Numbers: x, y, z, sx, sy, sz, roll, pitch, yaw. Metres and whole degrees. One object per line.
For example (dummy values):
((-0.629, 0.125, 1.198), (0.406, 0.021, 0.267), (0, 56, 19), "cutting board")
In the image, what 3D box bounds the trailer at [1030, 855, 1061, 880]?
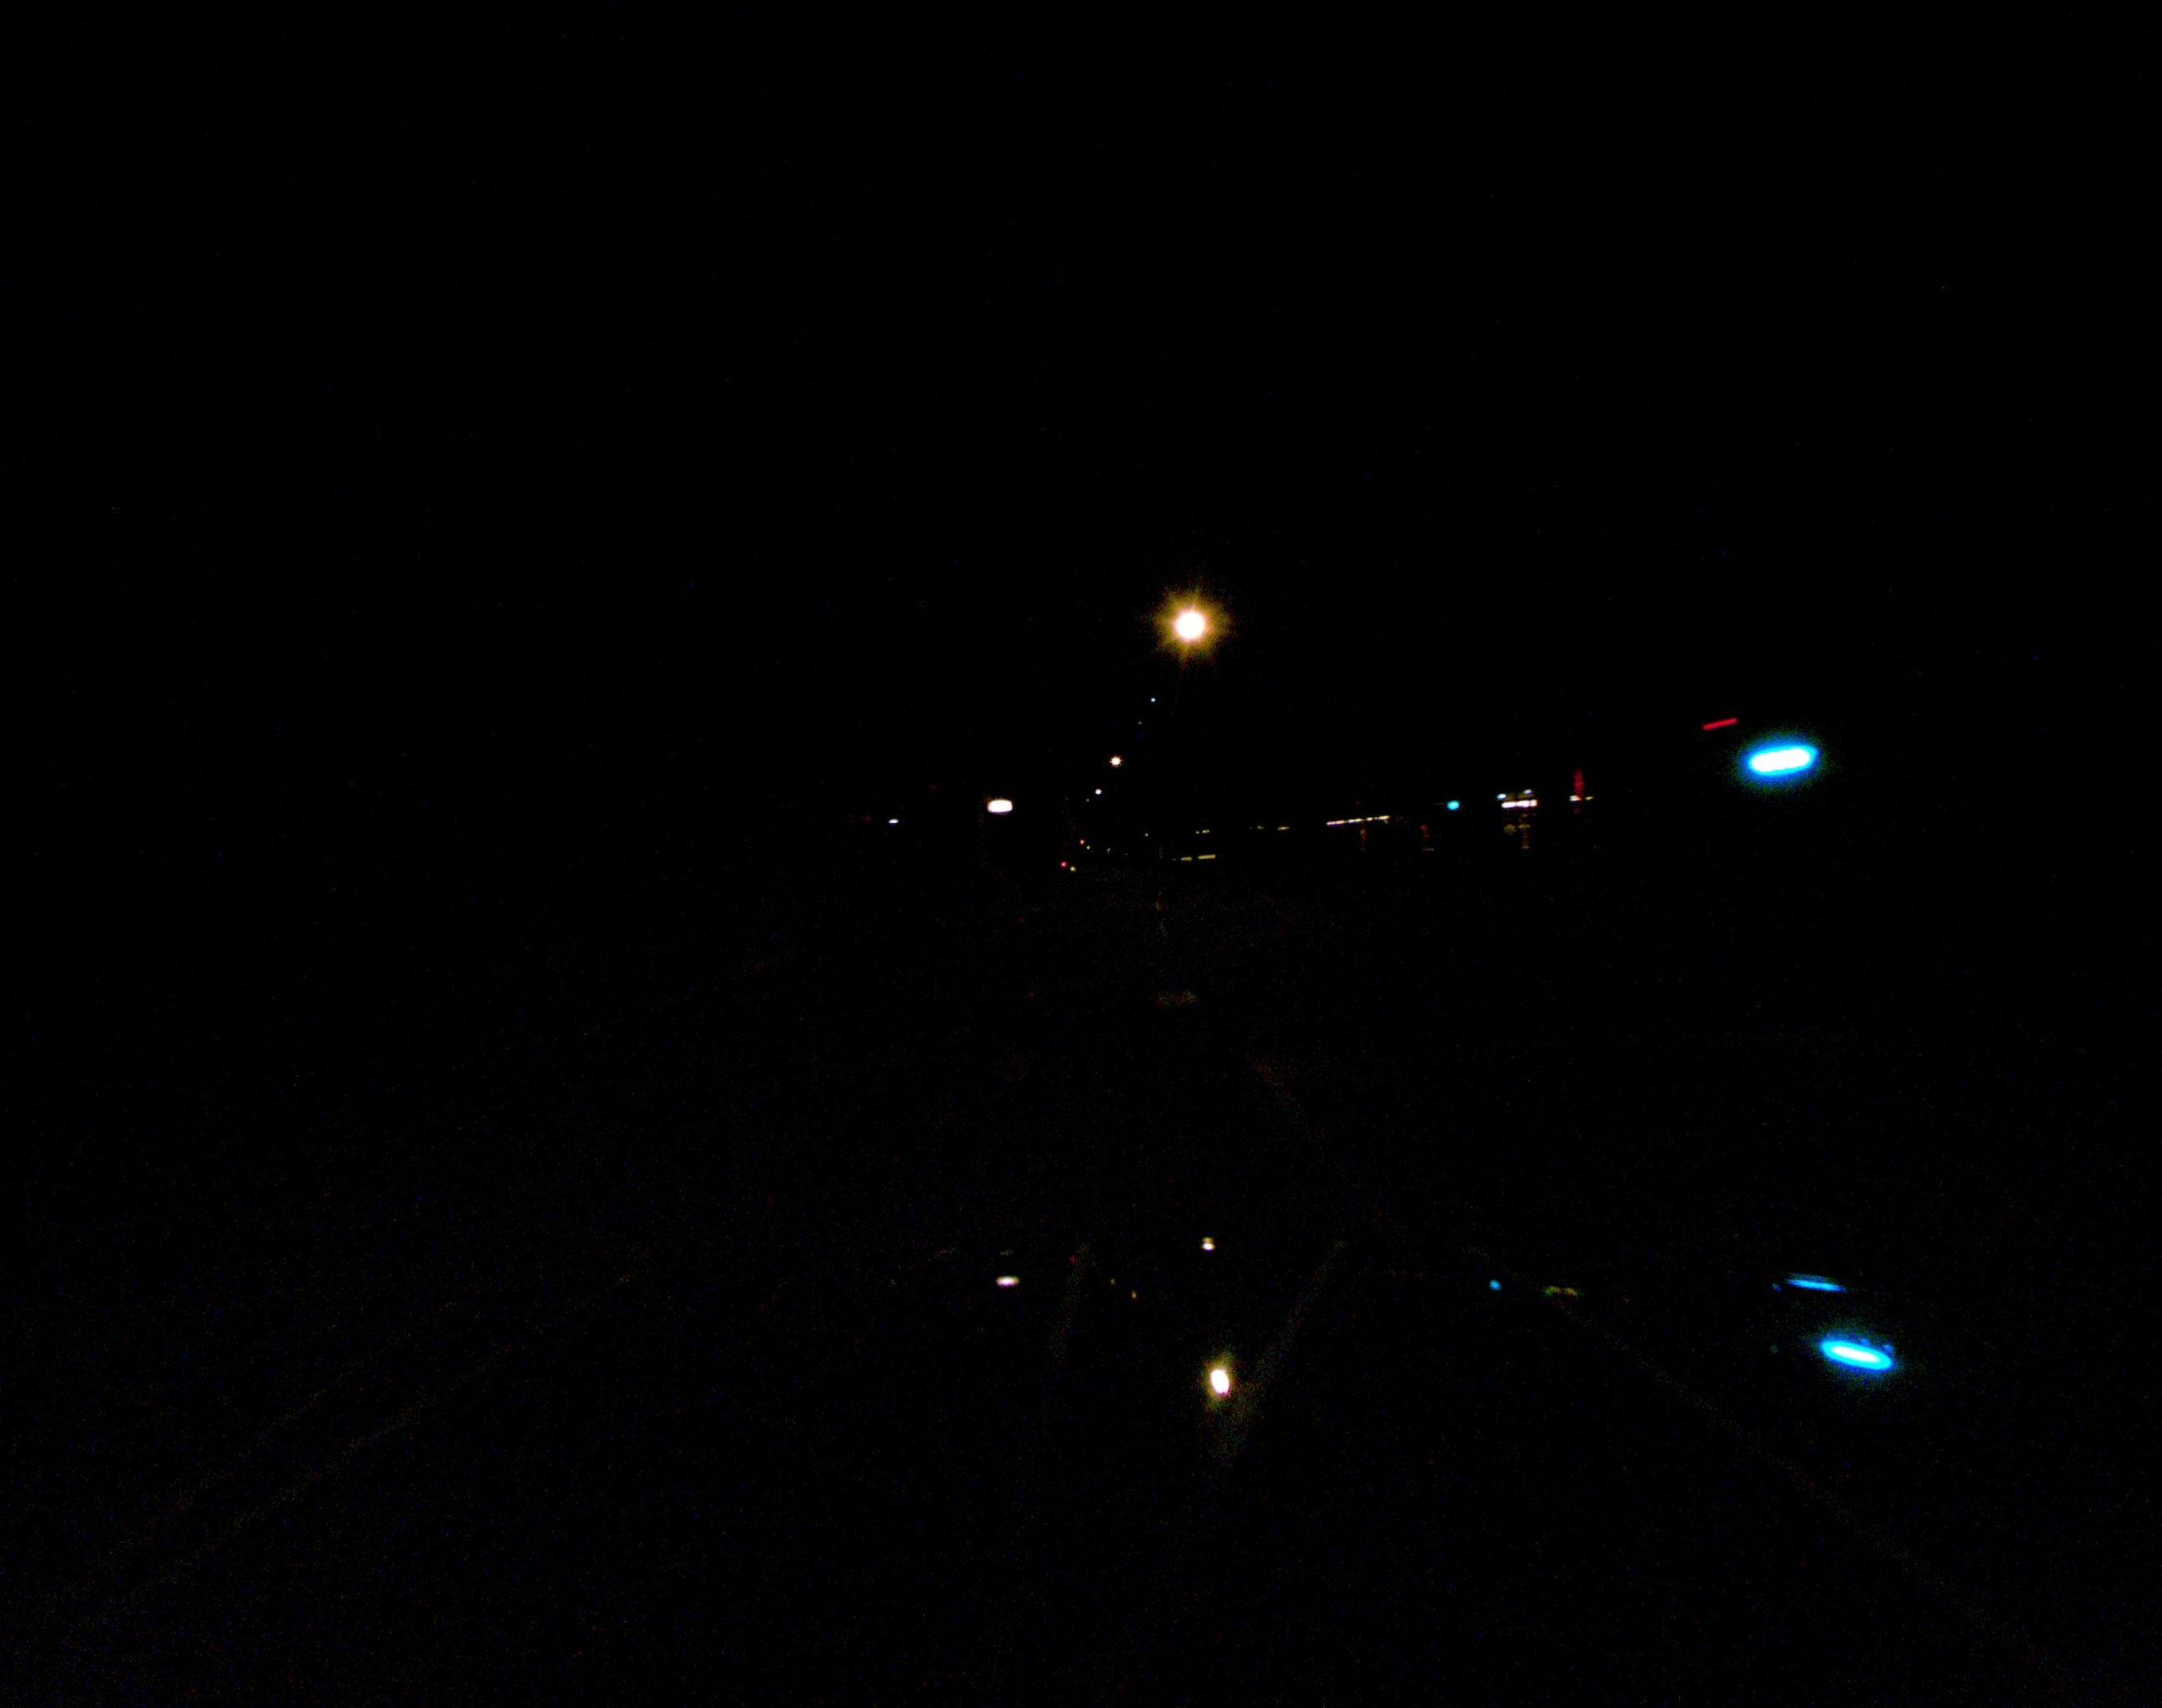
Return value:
((-2.390, 0.911, 52.444), (1.604, 1.486, 3.734), (-5, 0, 4), "trailer")

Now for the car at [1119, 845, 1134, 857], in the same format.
((6.466, -0.444, 108.002), (1.826, 1.423, 3.731), (-6, 0, 1), "car")

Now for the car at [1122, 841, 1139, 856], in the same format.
((6.672, -0.705, 102.046), (1.882, 1.798, 3.731), (-6, 1, 1), "car")

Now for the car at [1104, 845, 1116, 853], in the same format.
((5.566, -0.907, 144.263), (1.826, 1.423, 3.730), (-6, 0, -2), "car")

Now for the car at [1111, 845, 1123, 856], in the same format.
((6.111, -0.599, 130.052), (1.826, 1.637, 3.731), (-3, 1, 1), "car")

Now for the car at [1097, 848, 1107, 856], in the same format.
((4.558, -0.404, 163.304), (1.826, 1.423, 3.730), (-6, 0, -2), "car")

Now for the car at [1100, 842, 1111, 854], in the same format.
((5.579, -1.453, 175.065), (2.005, 2.493, 4.953), (-6, 1, -2), "car")

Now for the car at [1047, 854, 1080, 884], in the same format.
((-0.943, 0.803, 42.792), (1.590, 1.452, 3.797), (-4, 0, 2), "car")
